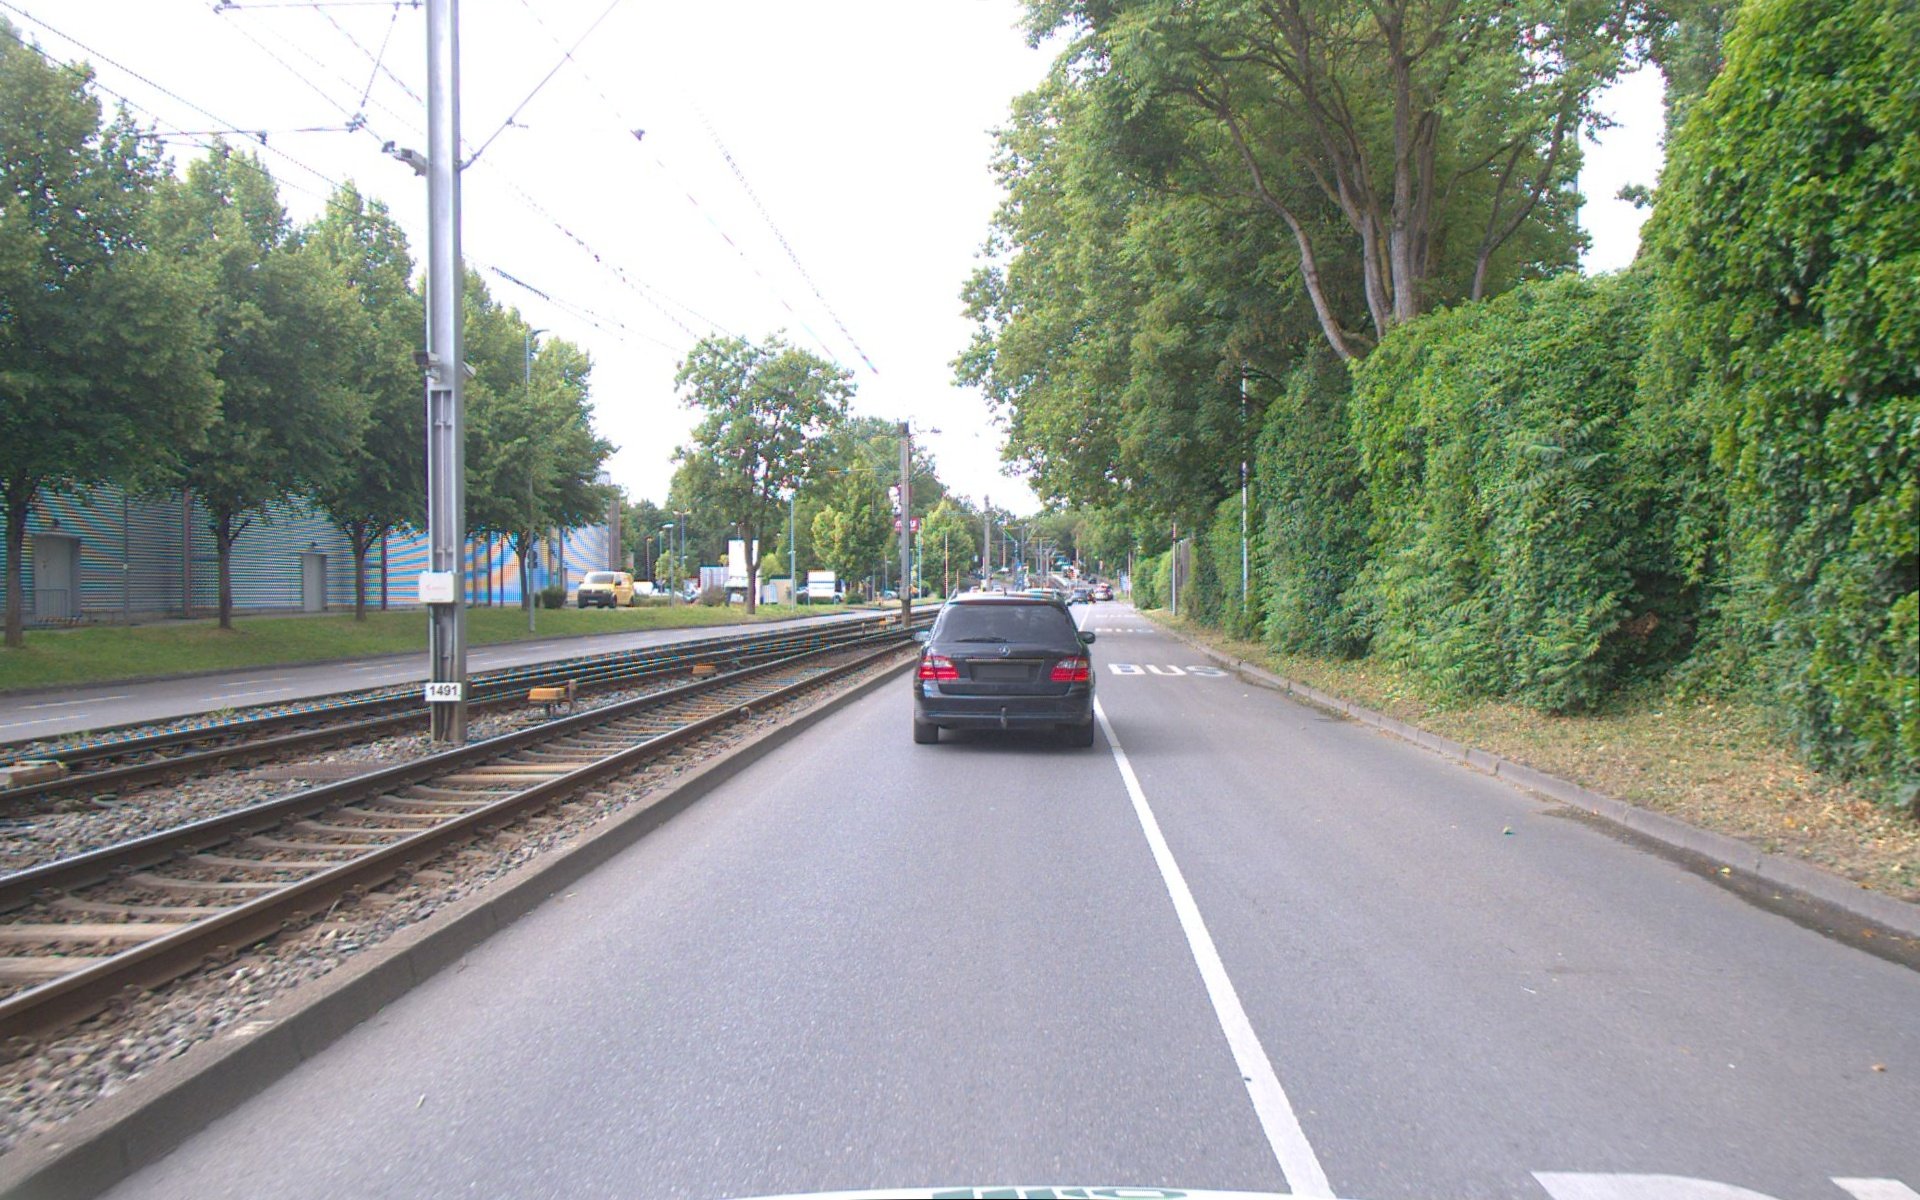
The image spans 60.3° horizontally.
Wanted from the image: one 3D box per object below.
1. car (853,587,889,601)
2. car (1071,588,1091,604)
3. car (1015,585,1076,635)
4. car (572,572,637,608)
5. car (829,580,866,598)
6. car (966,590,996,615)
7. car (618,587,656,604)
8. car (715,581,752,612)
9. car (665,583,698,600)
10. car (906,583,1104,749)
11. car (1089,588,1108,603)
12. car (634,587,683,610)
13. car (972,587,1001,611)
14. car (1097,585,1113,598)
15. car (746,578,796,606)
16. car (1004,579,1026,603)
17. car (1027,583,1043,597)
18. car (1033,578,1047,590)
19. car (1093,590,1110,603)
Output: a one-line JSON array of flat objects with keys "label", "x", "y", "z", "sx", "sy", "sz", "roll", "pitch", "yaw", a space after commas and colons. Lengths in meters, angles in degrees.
[{"label": "car", "x": -10.244, "y": -0.695, "z": 190.801, "sx": 3.903, "sy": 1.673, "sz": 2.001, "roll": 0, "pitch": 0, "yaw": 3}, {"label": "car", "x": 11.575, "y": -0.392, "z": 158.790, "sx": 1.787, "sy": 1.556, "sz": 4.417, "roll": 0, "pitch": 0, "yaw": 2}, {"label": "car", "x": 2.753, "y": 0.294, "z": 54.123, "sx": 1.788, "sy": 1.556, "sz": 4.416, "roll": 0, "pitch": 0, "yaw": 0}, {"label": "car", "x": -18.384, "y": -0.521, "z": 85.774, "sx": 1.951, "sy": 1.773, "sz": 4.990, "roll": 0, "pitch": 0, "yaw": 5}, {"label": "car", "x": -11.376, "y": -1.132, "z": 167.562, "sx": 3.622, "sy": 1.847, "sz": 1.792, "roll": 0, "pitch": 0, "yaw": -7}, {"label": "car", "x": 1.340, "y": 0.159, "z": 104.263, "sx": 1.787, "sy": 1.556, "sz": 3.987, "roll": 0, "pitch": 0, "yaw": 2}, {"label": "car", "x": -36.993, "y": -0.491, "z": 189.432, "sx": 3.906, "sy": 1.709, "sz": 1.999, "roll": -2, "pitch": 0, "yaw": -1}, {"label": "car", "x": -15.715, "y": -0.239, "z": 114.989, "sx": 1.953, "sy": 2.049, "sz": 4.000, "roll": -2, "pitch": 0, "yaw": 0}, {"label": "car", "x": -36.994, "y": -1.090, "z": 219.798, "sx": 3.903, "sy": 2.049, "sz": 2.001, "roll": -2, "pitch": 0, "yaw": 5}, {"label": "car", "x": 0.463, "y": 0.598, "z": 17.222, "sx": 1.795, "sy": 1.504, "sz": 4.416, "roll": 0, "pitch": 0, "yaw": 1}, {"label": "car", "x": 14.039, "y": -0.462, "z": 167.902, "sx": 1.787, "sy": 1.556, "sz": 4.180, "roll": 0, "pitch": 0, "yaw": 2}, {"label": "car", "x": -25.495, "y": -0.118, "z": 139.974, "sx": 3.920, "sy": 1.709, "sz": 1.992, "roll": -2, "pitch": 0, "yaw": -14}, {"label": "car", "x": 1.760, "y": -0.065, "z": 109.422, "sx": 1.787, "sy": 1.556, "sz": 3.987, "roll": 0, "pitch": 0, "yaw": 2}, {"label": "car", "x": 17.787, "y": -1.003, "z": 202.837, "sx": 1.787, "sy": 1.556, "sz": 4.180, "roll": 0, "pitch": 0, "yaw": 2}, {"label": "car", "x": -15.468, "y": -0.642, "z": 135.630, "sx": 3.909, "sy": 2.160, "sz": 1.998, "roll": -2, "pitch": 0, "yaw": -4}, {"label": "car", "x": 4.928, "y": -0.763, "z": 149.044, "sx": 1.853, "sy": 2.049, "sz": 3.898, "roll": -2, "pitch": 0, "yaw": 1}, {"label": "car", "x": 8.470, "y": -1.150, "z": 186.856, "sx": 1.787, "sy": 1.556, "sz": 4.180, "roll": 0, "pitch": 0, "yaw": 2}, {"label": "car", "x": 11.258, "y": -2.304, "z": 232.512, "sx": 1.803, "sy": 1.673, "sz": 3.887, "roll": 0, "pitch": 0, "yaw": 2}, {"label": "car", "x": 16.678, "y": -0.429, "z": 195.248, "sx": 1.787, "sy": 1.556, "sz": 4.180, "roll": 0, "pitch": 0, "yaw": 2}]
